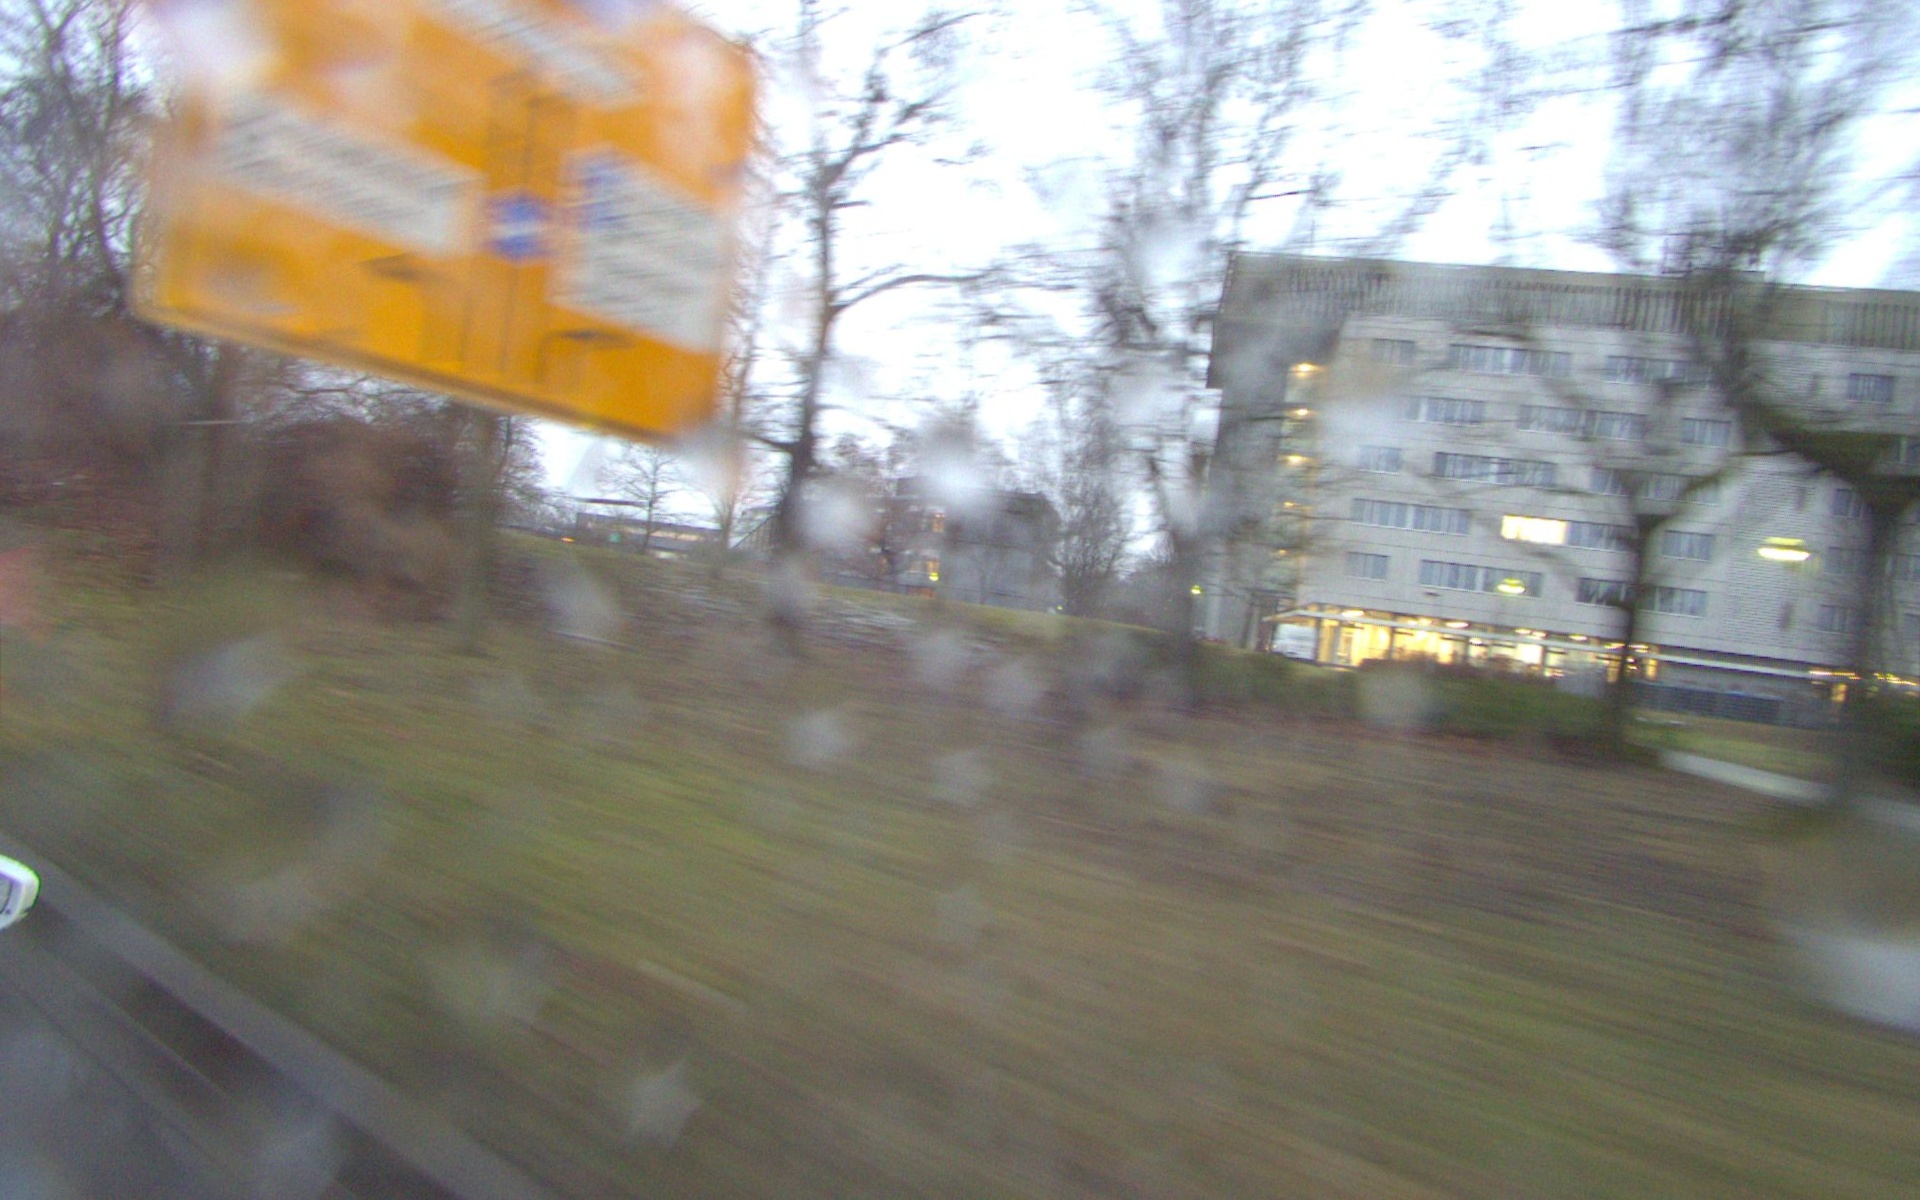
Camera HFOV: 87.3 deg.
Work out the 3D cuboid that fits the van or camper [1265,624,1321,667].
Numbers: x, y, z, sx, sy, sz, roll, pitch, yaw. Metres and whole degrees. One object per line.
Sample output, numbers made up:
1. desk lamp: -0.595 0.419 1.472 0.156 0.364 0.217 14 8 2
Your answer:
1. van or camper: 21.223 2.845 64.340 2.095 2.374 4.479 7 0 4
